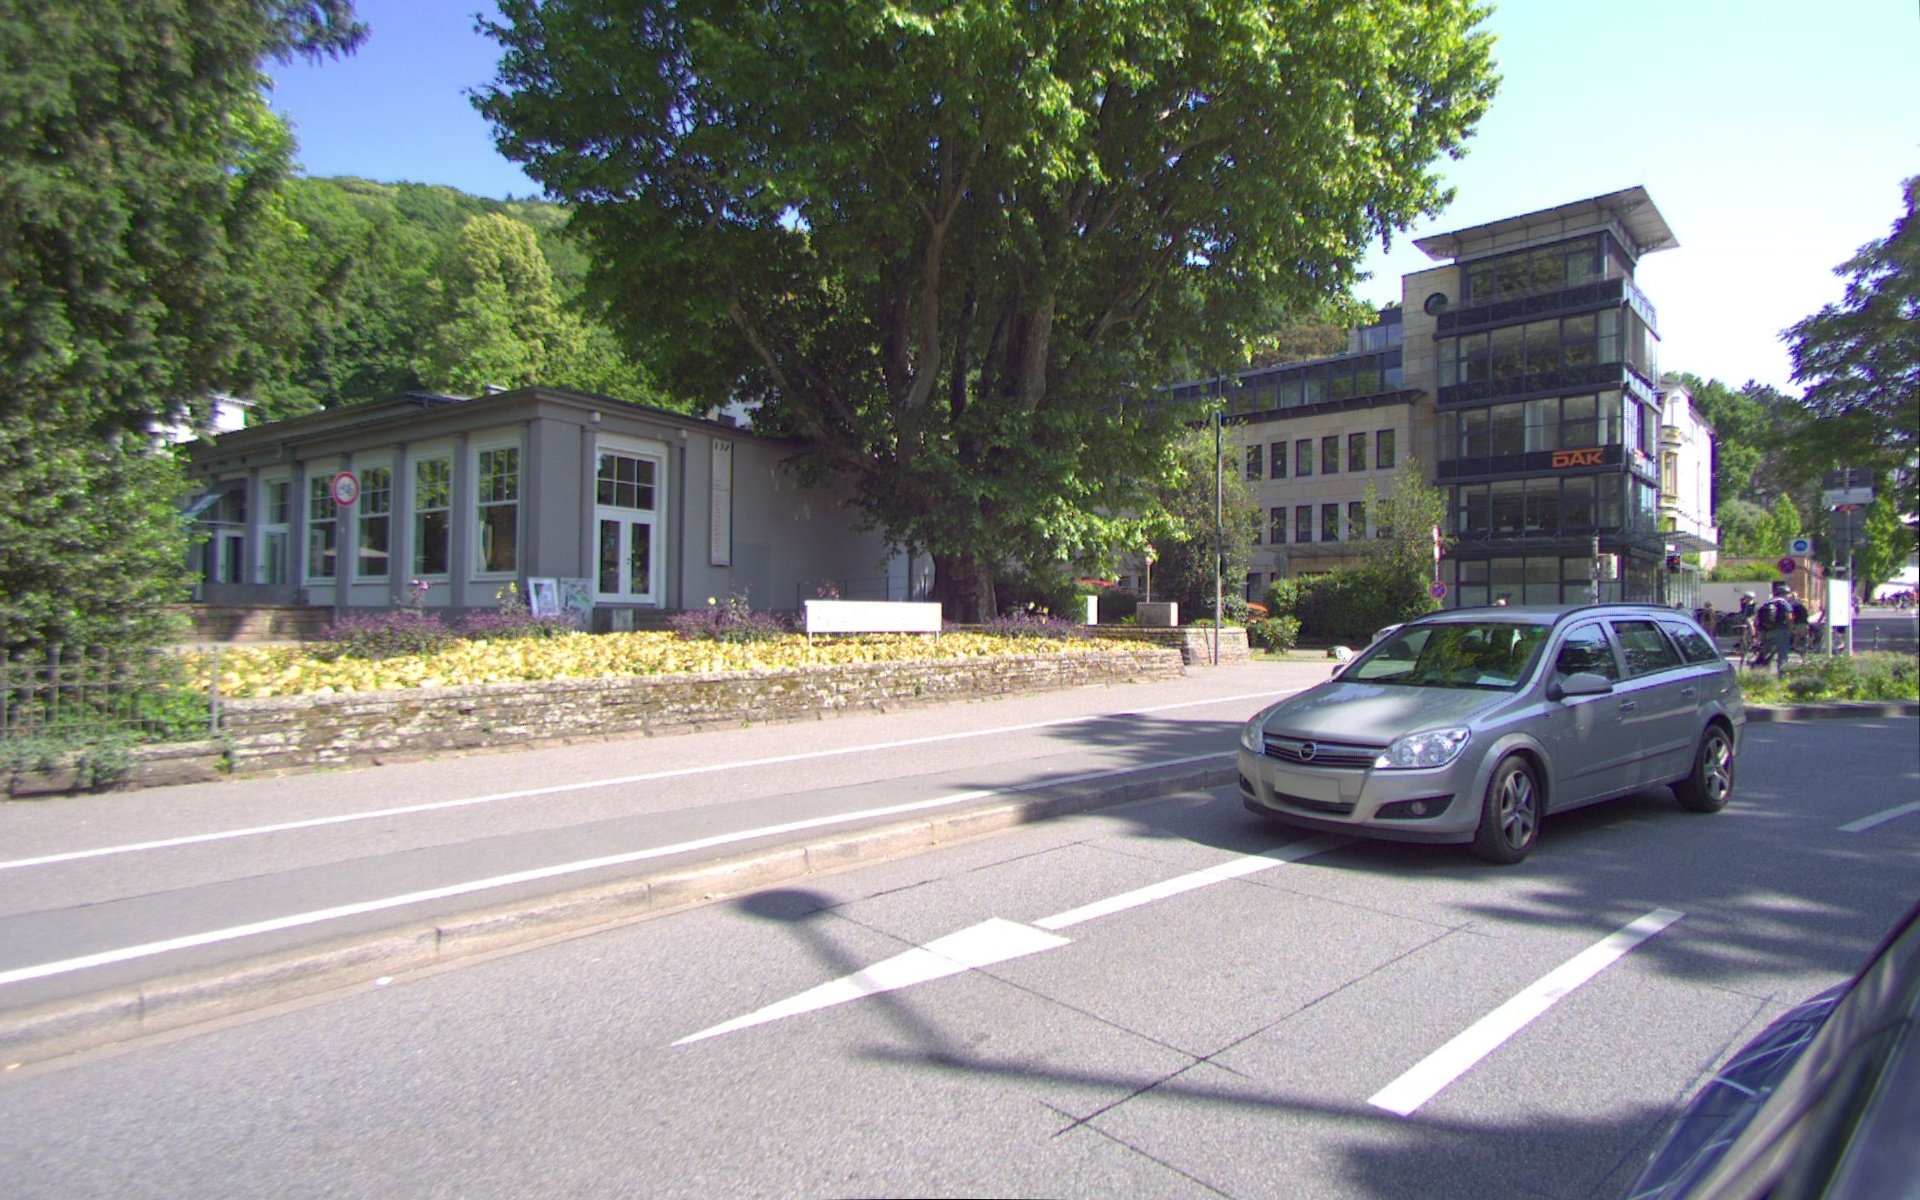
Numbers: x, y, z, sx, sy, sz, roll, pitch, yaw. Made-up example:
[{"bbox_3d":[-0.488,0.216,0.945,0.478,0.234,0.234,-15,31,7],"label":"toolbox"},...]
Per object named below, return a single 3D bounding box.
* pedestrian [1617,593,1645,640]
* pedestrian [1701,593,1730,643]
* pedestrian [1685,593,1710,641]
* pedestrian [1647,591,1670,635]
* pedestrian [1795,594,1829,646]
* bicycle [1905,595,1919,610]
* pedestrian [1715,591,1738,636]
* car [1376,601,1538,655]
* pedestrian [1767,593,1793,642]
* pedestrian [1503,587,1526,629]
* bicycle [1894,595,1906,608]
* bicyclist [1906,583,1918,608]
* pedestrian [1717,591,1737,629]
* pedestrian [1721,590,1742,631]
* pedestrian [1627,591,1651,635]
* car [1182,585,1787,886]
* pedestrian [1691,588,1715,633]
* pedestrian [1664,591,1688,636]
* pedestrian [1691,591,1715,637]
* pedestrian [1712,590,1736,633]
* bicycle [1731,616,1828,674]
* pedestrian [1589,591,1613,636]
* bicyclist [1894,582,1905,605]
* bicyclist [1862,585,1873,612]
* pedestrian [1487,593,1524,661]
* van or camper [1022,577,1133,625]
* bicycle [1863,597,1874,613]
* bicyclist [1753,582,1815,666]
[{"bbox_3d":[24.652,0.609,37.184,0.591,1.727,0.690,1,-1,-36],"label":"pedestrian"},{"bbox_3d":[26.450,0.633,35.442,0.634,1.727,0.653,1,-2,-39],"label":"pedestrian"},{"bbox_3d":[26.718,0.620,36.663,0.678,1.727,0.603,1,-2,-42],"label":"pedestrian"},{"bbox_3d":[27.290,0.506,39.528,0.593,1.727,0.601,1,-2,-41],"label":"pedestrian"},{"bbox_3d":[28.364,0.657,33.684,0.591,1.727,0.702,1,-1,-35],"label":"pedestrian"},{"bbox_3d":[79.176,0.205,84.159,1.864,1.176,0.566,0,-1,-39],"label":"bicycle"},{"bbox_3d":[29.636,0.517,39.130,0.593,1.727,0.601,1,-2,-41],"label":"pedestrian"},{"bbox_3d":[14.410,0.787,29.423,3.933,1.470,1.786,-1,-1,39],"label":"car"},{"bbox_3d":[29.528,0.629,36.426,0.593,1.727,0.601,1,-2,-41],"label":"pedestrian"},{"bbox_3d":[22.652,0.325,41.336,0.678,1.727,0.602,1,-2,-44],"label":"pedestrian"},{"bbox_3d":[85.755,0.129,92.304,1.864,1.176,0.566,0,-1,-39],"label":"bicycle"},{"bbox_3d":[79.202,-0.389,84.182,1.030,2.039,0.573,1,-1,-39],"label":"bicyclist"},{"bbox_3d":[34.474,0.449,45.486,0.600,1.727,0.594,-1,-2,44],"label":"pedestrian"},{"bbox_3d":[33.173,0.449,43.509,0.600,1.727,0.594,-1,-2,44],"label":"pedestrian"},{"bbox_3d":[26.607,0.503,39.665,0.593,1.727,0.601,1,-2,-41],"label":"pedestrian"},{"bbox_3d":[3.752,0.730,7.043,4.318,1.542,1.714,1,-1,-31],"label":"car"},{"bbox_3d":[28.938,0.416,39.427,0.593,1.727,0.601,1,-2,-41],"label":"pedestrian"},{"bbox_3d":[27.660,0.512,39.117,0.593,1.727,0.601,1,-2,-41],"label":"pedestrian"},{"bbox_3d":[28.170,0.522,38.368,0.593,1.727,0.601,1,-2,-41],"label":"pedestrian"},{"bbox_3d":[30.890,0.472,40.905,0.717,1.727,0.601,1,-2,-41],"label":"pedestrian"},{"bbox_3d":[16.156,0.861,19.929,2.162,1.068,0.712,0,-1,-29],"label":"bicycle"},{"bbox_3d":[24.781,0.505,39.124,0.678,1.727,0.603,1,-2,-42],"label":"pedestrian"},{"bbox_3d":[85.665,-0.601,92.279,0.890,2.039,0.573,1,-1,-39],"label":"bicyclist"},{"bbox_3d":[68.716,-0.143,76.613,0.737,2.039,0.573,1,-1,-44],"label":"bicyclist"},{"bbox_3d":[13.780,0.678,25.569,0.708,1.694,0.526,-1,-1,41],"label":"pedestrian"},{"bbox_3d":[5.586,0.070,48.245,4.755,2.196,2.392,0,-1,39],"label":"van or camper"},{"bbox_3d":[68.783,0.382,76.609,0.565,1.176,1.868,-1,-1,44],"label":"bicycle"},{"bbox_3d":[16.279,0.464,19.995,0.717,1.633,0.712,0,-1,-29],"label":"bicyclist"}]
